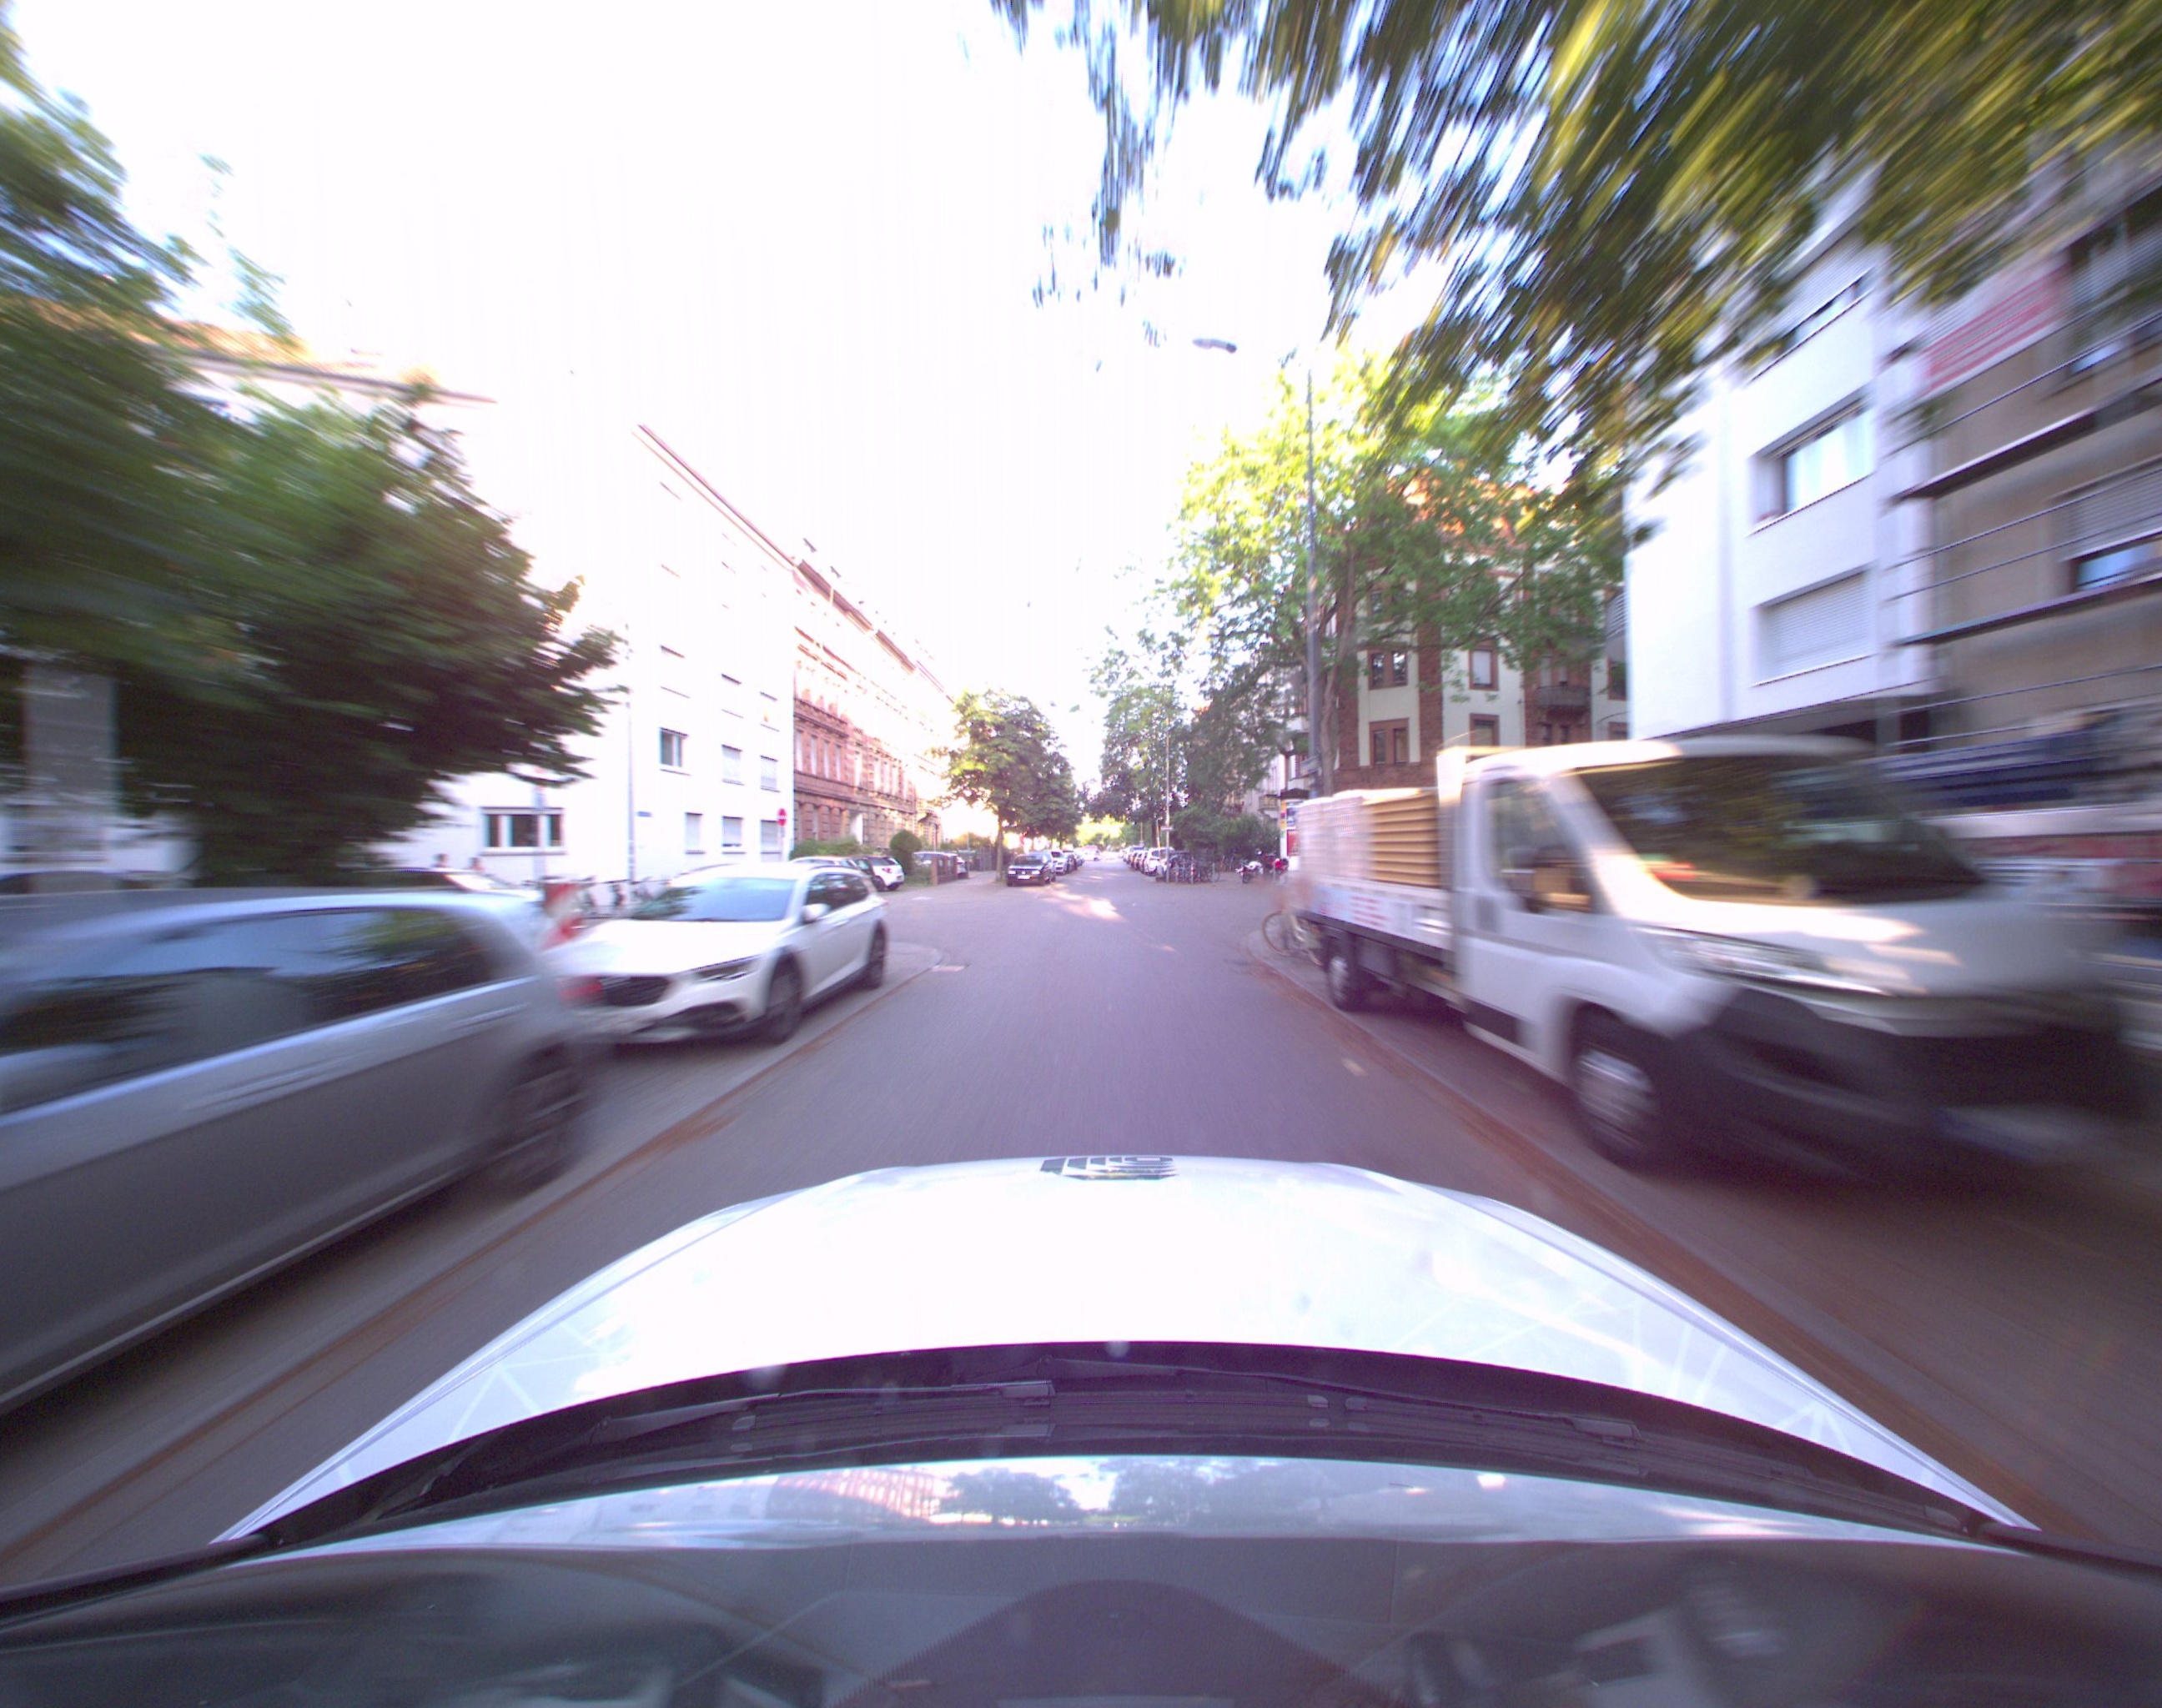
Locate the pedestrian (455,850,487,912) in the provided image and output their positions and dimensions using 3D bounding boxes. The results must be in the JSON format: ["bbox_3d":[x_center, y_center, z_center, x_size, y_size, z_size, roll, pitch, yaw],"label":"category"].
[{"bbox_3d":[-17.006,0.749,22.723,0.536,1.682,0.579,0,3,-18],"label":"pedestrian"}]

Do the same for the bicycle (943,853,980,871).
[{"bbox_3d":[-8.585,0.575,58.725,2.515,1.192,0.645,2,1,7],"label":"bicycle"}]

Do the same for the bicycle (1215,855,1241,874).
[{"bbox_3d":[8.850,0.626,49.105,1.504,1.034,0.330,-2,1,-1],"label":"bicycle"}]

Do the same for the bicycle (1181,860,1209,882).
[{"bbox_3d":[5.332,0.789,38.031,1.226,0.963,0.329,-2,1,-16],"label":"bicycle"}]

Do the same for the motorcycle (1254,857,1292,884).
[{"bbox_3d":[8.406,0.695,35.547,2.225,1.079,0.432,-2,2,-43],"label":"motorcycle"}]

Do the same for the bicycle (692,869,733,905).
[{"bbox_3d":[-11.851,1.040,26.244,0.394,1.062,1.879,-1,0,3],"label":"bicycle"}]

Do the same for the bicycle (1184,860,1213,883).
[{"bbox_3d":[5.345,0.806,37.110,1.220,0.987,0.330,-2,1,-1],"label":"bicycle"}]

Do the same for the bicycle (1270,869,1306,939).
[{"bbox_3d":[3.799,0.881,15.019,0.403,1.109,2.160,-3,0,9],"label":"bicycle"}]

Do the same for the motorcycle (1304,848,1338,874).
[{"bbox_3d":[10.613,0.285,35.951,2.123,1.079,0.432,-2,2,-43],"label":"motorcycle"}]

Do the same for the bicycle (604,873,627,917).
[{"bbox_3d":[-12.741,1.094,22.304,0.368,1.116,1.837,-1,0,-24],"label":"bicycle"}]

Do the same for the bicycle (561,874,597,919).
[{"bbox_3d":[-13.486,1.108,21.921,0.401,1.116,1.840,-1,0,-19],"label":"bicycle"}]

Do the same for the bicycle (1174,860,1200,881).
[{"bbox_3d":[5.107,0.806,39.130,1.228,0.947,0.328,-2,1,-21],"label":"bicycle"}]

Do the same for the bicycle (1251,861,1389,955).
[{"bbox_3d":[3.551,0.784,12.131,1.899,1.258,0.406,-3,0,-4],"label":"bicycle"}]

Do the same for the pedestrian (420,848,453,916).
[{"bbox_3d":[-17.345,0.747,21.936,0.502,1.764,0.619,0,3,-20],"label":"pedestrian"}]

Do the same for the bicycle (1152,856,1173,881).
[{"bbox_3d":[4.004,0.689,39.991,0.439,1.173,1.646,-1,0,27],"label":"bicycle"}]

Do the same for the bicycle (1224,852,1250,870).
[{"bbox_3d":[9.516,0.429,49.649,1.504,1.034,0.330,-2,1,-1],"label":"bicycle"}]

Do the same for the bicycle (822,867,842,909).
[{"bbox_3d":[-7.355,0.977,24.029,0.338,1.181,1.862,-1,-1,-24],"label":"bicycle"}]

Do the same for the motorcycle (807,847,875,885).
[{"bbox_3d":[-10.590,0.540,35.963,2.835,1.638,0.677,-1,0,9],"label":"motorcycle"}]

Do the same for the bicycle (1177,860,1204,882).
[{"bbox_3d":[5.155,0.791,38.428,1.228,0.957,0.328,-2,1,-21],"label":"bicycle"}]

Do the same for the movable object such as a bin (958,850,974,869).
[{"bbox_3d":[-8.616,0.392,61.000,1.097,1.414,1.001,1,1,-12],"label":"movable object such as a bin"}]

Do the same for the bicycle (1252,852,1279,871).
[{"bbox_3d":[11.136,0.448,49.227,1.504,1.034,0.330,-2,1,-1],"label":"bicycle"}]

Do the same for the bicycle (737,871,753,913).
[{"bbox_3d":[-9.571,1.063,23.182,0.368,1.109,1.837,-1,0,-24],"label":"bicycle"}]

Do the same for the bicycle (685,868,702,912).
[{"bbox_3d":[-10.828,0.986,22.773,0.368,1.152,1.837,-1,0,-24],"label":"bicycle"}]

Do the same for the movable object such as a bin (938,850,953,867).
[{"bbox_3d":[-10.212,0.343,61.390,1.097,1.209,1.001,1,1,-12],"label":"movable object such as a bin"}]

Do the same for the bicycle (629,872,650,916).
[{"bbox_3d":[-12.084,1.075,22.302,0.368,1.116,1.837,-1,0,-24],"label":"bicycle"}]

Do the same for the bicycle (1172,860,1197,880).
[{"bbox_3d":[5.046,0.777,39.745,1.230,0.951,0.328,-2,1,-26],"label":"bicycle"}]

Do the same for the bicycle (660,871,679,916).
[{"bbox_3d":[-11.386,1.073,22.533,0.368,1.152,1.837,-1,0,-24],"label":"bicycle"}]

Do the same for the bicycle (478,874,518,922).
[{"bbox_3d":[-15.250,1.126,21.338,0.367,1.165,1.839,-1,0,-21],"label":"bicycle"}]

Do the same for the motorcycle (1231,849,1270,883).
[{"bbox_3d":[7.607,0.533,36.505,2.226,1.408,0.578,-2,2,-45],"label":"motorcycle"}]

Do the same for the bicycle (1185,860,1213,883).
[{"bbox_3d":[5.440,0.800,37.467,1.221,0.987,0.330,-2,1,-2],"label":"bicycle"}]

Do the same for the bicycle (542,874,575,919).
[{"bbox_3d":[-13.935,1.122,21.754,0.367,1.105,1.839,-1,0,-21],"label":"bicycle"}]
